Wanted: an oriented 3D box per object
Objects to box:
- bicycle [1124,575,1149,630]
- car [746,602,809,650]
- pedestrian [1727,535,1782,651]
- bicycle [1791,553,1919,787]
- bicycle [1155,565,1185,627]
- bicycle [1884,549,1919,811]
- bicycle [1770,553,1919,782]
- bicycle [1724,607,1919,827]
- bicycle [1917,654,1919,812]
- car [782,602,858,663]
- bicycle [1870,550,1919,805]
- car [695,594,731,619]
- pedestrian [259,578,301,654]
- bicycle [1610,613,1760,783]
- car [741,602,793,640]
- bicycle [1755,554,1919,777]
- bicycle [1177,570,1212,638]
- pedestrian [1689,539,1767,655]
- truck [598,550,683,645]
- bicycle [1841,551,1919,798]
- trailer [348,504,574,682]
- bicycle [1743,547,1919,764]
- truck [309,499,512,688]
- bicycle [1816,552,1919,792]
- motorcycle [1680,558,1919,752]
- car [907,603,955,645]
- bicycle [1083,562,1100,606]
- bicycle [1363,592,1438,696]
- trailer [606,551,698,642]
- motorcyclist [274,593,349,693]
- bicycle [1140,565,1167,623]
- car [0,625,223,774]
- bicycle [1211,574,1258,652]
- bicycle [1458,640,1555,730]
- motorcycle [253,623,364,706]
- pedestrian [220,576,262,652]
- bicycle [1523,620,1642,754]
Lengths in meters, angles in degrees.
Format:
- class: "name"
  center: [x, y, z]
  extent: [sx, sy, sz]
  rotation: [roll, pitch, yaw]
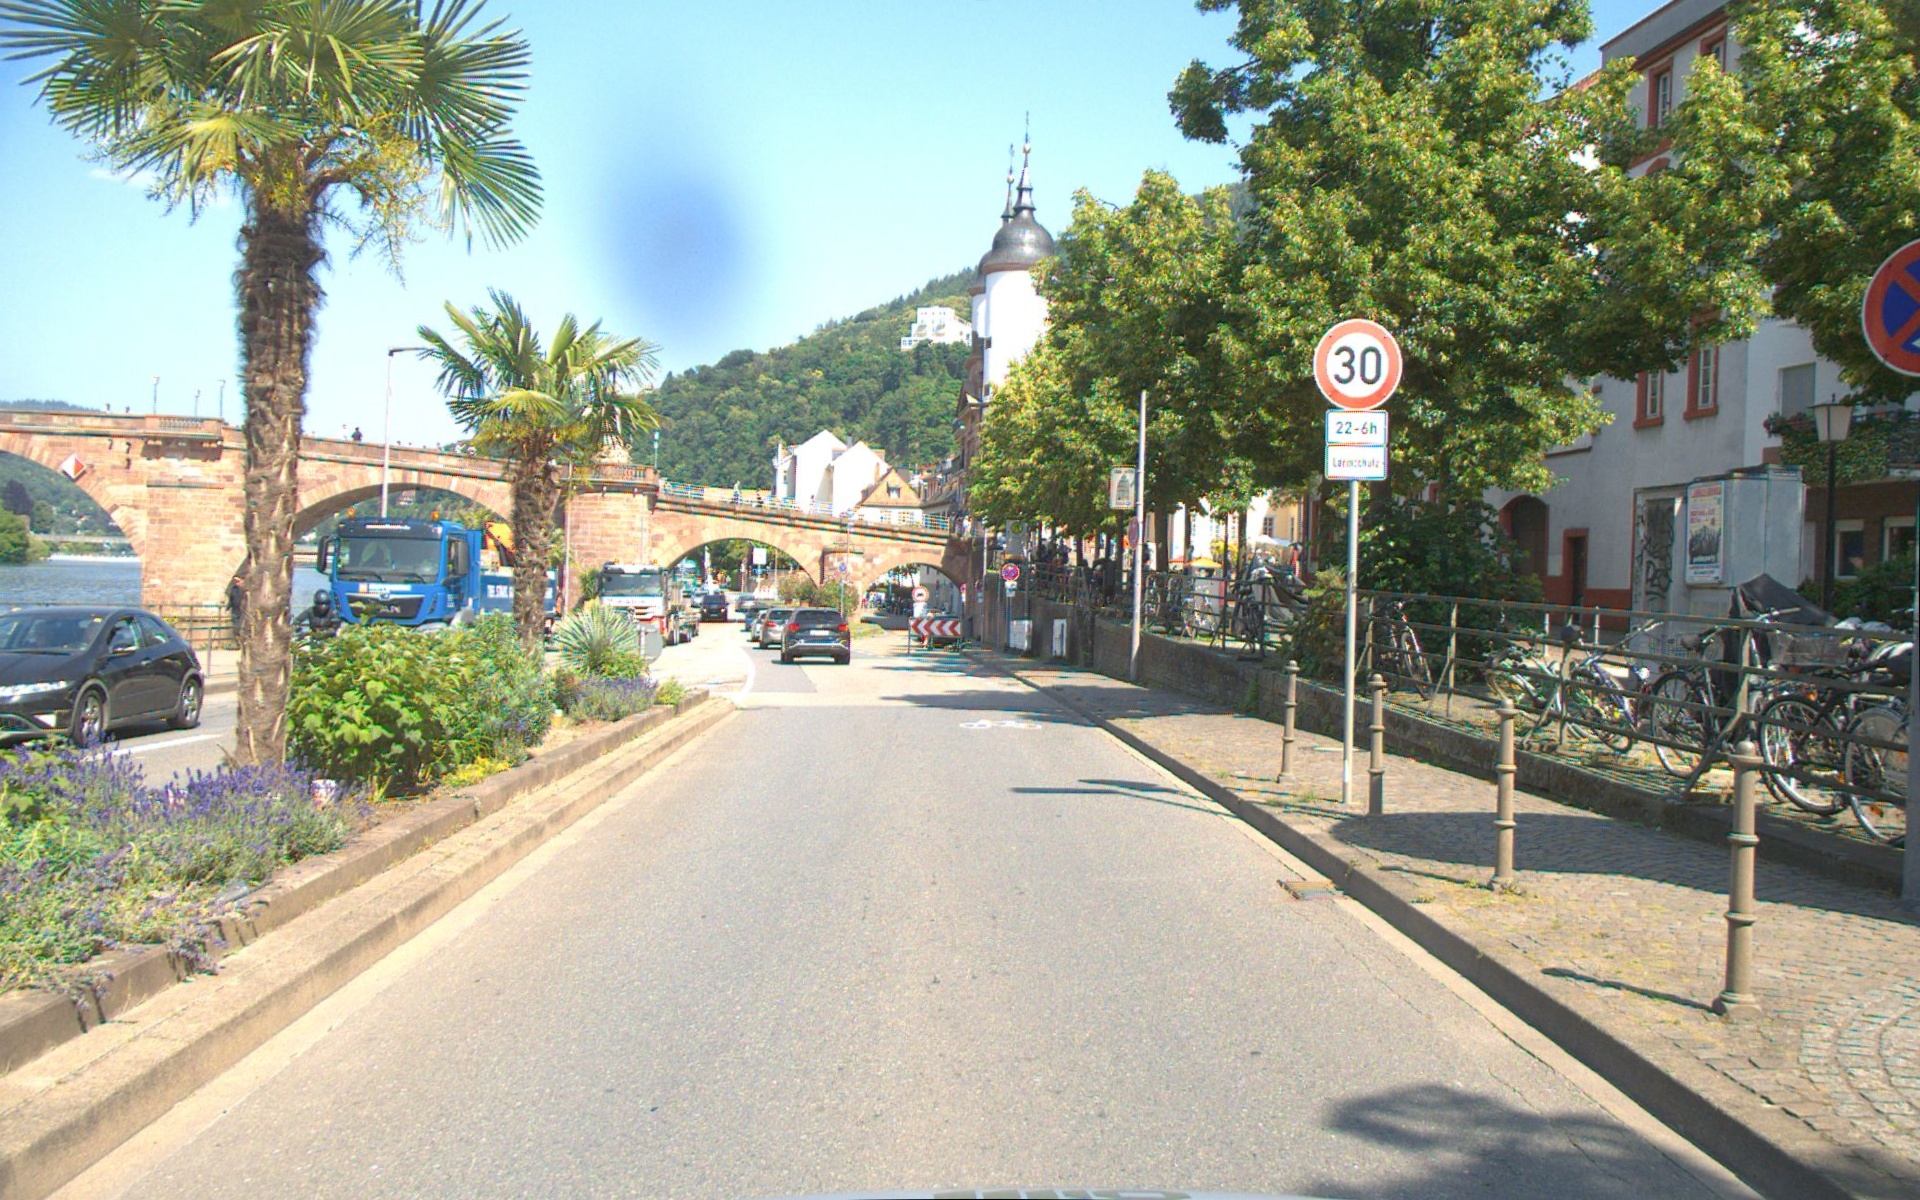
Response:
- class: "bicycle"
  center: [3.711, 0.040, 34.776]
  extent: [0.245, 1.115, 1.488]
  rotation: [3, 0, -2]
- class: "car"
  center: [-6.861, 0.965, 62.548]
  extent: [1.953, 1.580, 4.830]
  rotation: [2, 1, -2]
- class: "pedestrian"
  center: [14.276, -0.129, 29.731]
  extent: [0.622, 2.049, 0.644]
  rotation: [2, 0, -3]
- class: "bicycle"
  center: [6.432, 0.463, 10.910]
  extent: [1.790, 1.509, 0.269]
  rotation: [1, 0, -4]
- class: "bicycle"
  center: [3.895, -0.080, 30.764]
  extent: [0.245, 1.115, 1.488]
  rotation: [3, 0, -2]
- class: "bicycle"
  center: [6.435, 0.477, 9.723]
  extent: [1.887, 1.509, 0.281]
  rotation: [1, 0, -4]
- class: "bicycle"
  center: [6.381, 0.458, 11.195]
  extent: [1.688, 1.509, 0.269]
  rotation: [1, 0, -4]
- class: "bicycle"
  center: [4.902, 0.621, 9.480]
  extent: [0.245, 1.139, 1.488]
  rotation: [1, 0, -4]
- class: "bicycle"
  center: [6.466, 0.481, 9.422]
  extent: [1.887, 1.509, 0.311]
  rotation: [1, 0, -4]
- class: "car"
  center: [-3.817, 0.867, 45.760]
  extent: [1.888, 1.580, 4.829]
  rotation: [0, 0, -3]
- class: "bicycle"
  center: [6.458, 0.474, 10.014]
  extent: [1.790, 1.509, 0.269]
  rotation: [1, 0, -4]
- class: "car"
  center: [-17.744, 0.463, 119.094]
  extent: [1.953, 1.580, 4.830]
  rotation: [2, 1, -2]
- class: "pedestrian"
  center: [-16.468, 0.386, 40.052]
  extent: [0.748, 1.811, 0.694]
  rotation: [2, 0, -10]
- class: "bicycle"
  center: [4.795, 0.616, 11.018]
  extent: [0.245, 1.028, 1.488]
  rotation: [1, 0, -4]
- class: "car"
  center: [-8.909, 0.948, 76.705]
  extent: [1.953, 1.580, 4.830]
  rotation: [2, 1, -2]
- class: "bicycle"
  center: [6.409, 0.455, 11.477]
  extent: [1.672, 1.509, 0.269]
  rotation: [1, 0, -4]
- class: "bicycle"
  center: [4.014, 0.057, 28.363]
  extent: [0.270, 1.115, 1.488]
  rotation: [-3, 1, -2]
- class: "pedestrian"
  center: [13.261, -0.056, 28.586]
  extent: [0.949, 1.948, 0.747]
  rotation: [1, 0, -1]
- class: "truck"
  center: [-12.409, -0.128, 64.558]
  extent: [2.606, 3.462, 5.131]
  rotation: [2, 1, -5]
- class: "bicycle"
  center: [6.449, 0.470, 10.316]
  extent: [1.793, 1.509, 0.285]
  rotation: [1, 0, -4]
- class: "trailer"
  center: [-10.974, -0.188, 37.359]
  extent: [2.604, 3.462, 8.824]
  rotation: [2, 1, -2]
- class: "bicycle"
  center: [6.463, 0.397, 11.774]
  extent: [1.672, 1.509, 0.269]
  rotation: [1, 0, -4]
- class: "truck"
  center: [-10.841, -0.144, 33.058]
  extent: [2.604, 3.462, 4.448]
  rotation: [2, 1, -2]
- class: "bicycle"
  center: [6.440, 0.466, 10.652]
  extent: [1.739, 1.509, 0.269]
  rotation: [1, 0, -4]
- class: "motorcycle"
  center: [7.102, 0.416, 12.709]
  extent: [2.773, 1.422, 0.826]
  rotation: [1, 0, 17]
- class: "car"
  center: [-1.188, 0.978, 69.588]
  extent: [1.683, 1.624, 3.896]
  rotation: [2, 1, 3]
- class: "bicycle"
  center: [3.455, -0.407, 43.389]
  extent: [0.348, 1.115, 1.489]
  rotation: [3, 0, 3]
- class: "bicycle"
  center: [4.561, 0.434, 17.198]
  extent: [0.245, 1.017, 1.488]
  rotation: [3, 0, -4]
- class: "trailer"
  center: [-12.781, -0.194, 69.396]
  extent: [2.605, 3.462, 10.159]
  rotation: [2, 1, -4]
- class: "motorcyclist"
  center: [-10.074, 0.657, 25.706]
  extent: [0.720, 1.496, 1.011]
  rotation: [2, 0, 1]
- class: "bicycle"
  center: [3.820, -0.117, 32.689]
  extent: [0.245, 1.115, 1.488]
  rotation: [3, 0, -2]
- class: "car"
  center: [-9.914, 1.011, 18.252]
  extent: [1.913, 1.437, 4.215]
  rotation: [-1, -1, -4]
- class: "bicycle"
  center: [4.103, 0.181, 24.795]
  extent: [0.338, 1.115, 1.488]
  rotation: [3, 0, -2]
- class: "bicycle"
  center: [4.655, 0.710, 14.157]
  extent: [0.245, 0.675, 1.468]
  rotation: [1, 0, -4]
- class: "motorcycle"
  center: [-10.072, 0.967, 25.682]
  extent: [0.742, 1.151, 2.455]
  rotation: [2, 1, 0]
- class: "pedestrian"
  center: [-17.344, 0.334, 39.917]
  extent: [0.748, 1.811, 0.694]
  rotation: [2, 0, -10]
- class: "bicycle"
  center: [4.719, 0.633, 12.604]
  extent: [0.245, 0.920, 1.488]
  rotation: [1, 0, -4]
